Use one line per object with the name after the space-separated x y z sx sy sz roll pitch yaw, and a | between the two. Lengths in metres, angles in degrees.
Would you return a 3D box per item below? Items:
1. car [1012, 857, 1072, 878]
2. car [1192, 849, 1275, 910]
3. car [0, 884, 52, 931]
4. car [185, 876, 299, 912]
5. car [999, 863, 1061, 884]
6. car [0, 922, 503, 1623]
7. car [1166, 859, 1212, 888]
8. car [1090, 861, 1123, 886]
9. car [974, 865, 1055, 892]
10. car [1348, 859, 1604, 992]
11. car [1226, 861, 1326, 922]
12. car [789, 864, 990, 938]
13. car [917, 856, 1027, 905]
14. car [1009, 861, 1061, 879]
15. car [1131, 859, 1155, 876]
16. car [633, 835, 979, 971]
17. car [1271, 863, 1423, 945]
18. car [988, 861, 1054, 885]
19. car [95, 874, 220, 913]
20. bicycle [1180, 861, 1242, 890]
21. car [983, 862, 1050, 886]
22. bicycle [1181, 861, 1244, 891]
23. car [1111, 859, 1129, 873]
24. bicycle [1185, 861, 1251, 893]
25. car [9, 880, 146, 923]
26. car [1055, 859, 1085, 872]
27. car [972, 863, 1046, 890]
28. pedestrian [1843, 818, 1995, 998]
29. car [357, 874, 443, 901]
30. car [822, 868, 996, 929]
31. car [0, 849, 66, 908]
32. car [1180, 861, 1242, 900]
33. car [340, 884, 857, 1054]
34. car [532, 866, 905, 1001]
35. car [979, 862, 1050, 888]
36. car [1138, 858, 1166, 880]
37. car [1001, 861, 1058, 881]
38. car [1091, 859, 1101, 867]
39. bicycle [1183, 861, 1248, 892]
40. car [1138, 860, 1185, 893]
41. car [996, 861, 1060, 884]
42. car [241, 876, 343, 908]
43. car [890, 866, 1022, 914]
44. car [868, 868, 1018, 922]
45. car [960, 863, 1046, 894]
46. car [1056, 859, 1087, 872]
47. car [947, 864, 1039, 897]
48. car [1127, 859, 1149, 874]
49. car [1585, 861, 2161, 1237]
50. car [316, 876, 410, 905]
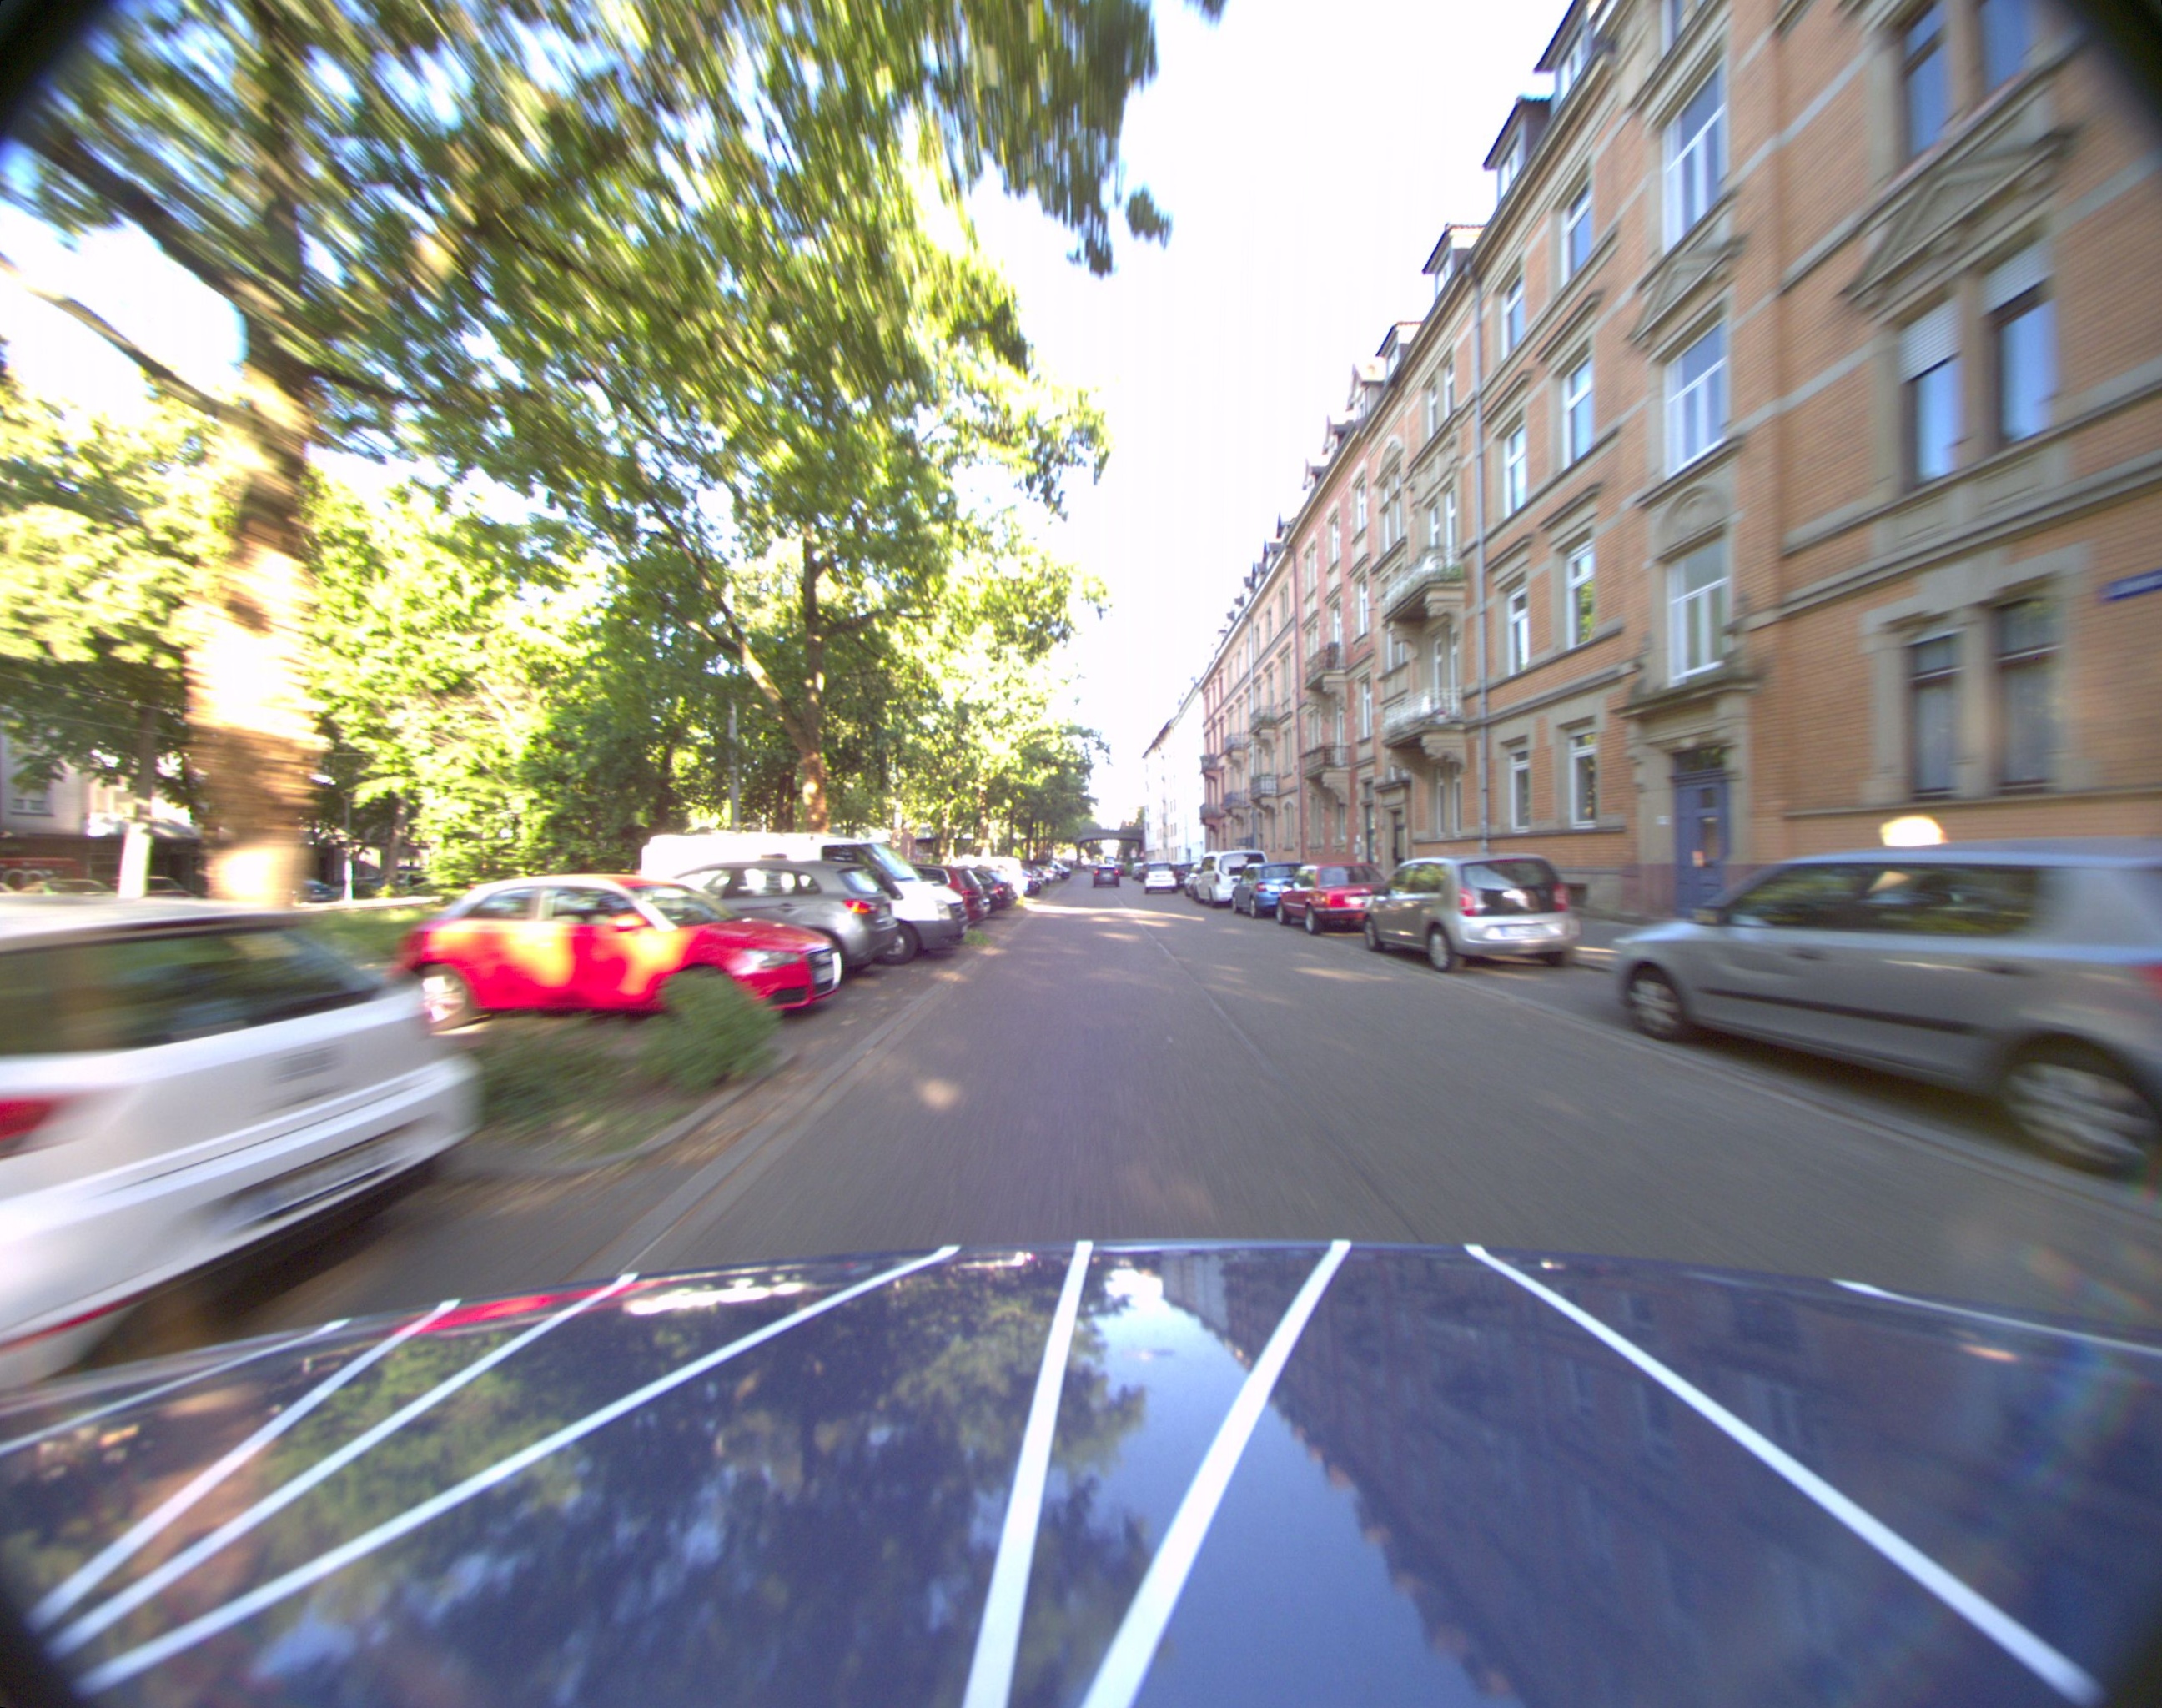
-3.414 1.177 66.700 5.095 1.831 1.832 0 0 1 | car
5.225 0.833 26.644 1.912 1.871 4.725 -3 0 1 | car
-32.463 1.564 22.278 3.990 1.271 1.751 0 0 22 | car
-33.489 1.564 30.320 3.990 1.271 1.751 0 0 22 | car
-3.605 1.365 54.376 4.263 1.480 1.684 0 0 1 | car
-4.405 1.003 2.329 3.997 1.452 1.684 0 0 1 | car
5.854 1.017 41.657 1.881 1.433 4.393 -3 0 1 | car
1.715 1.254 49.644 1.880 1.422 4.394 -3 0 5 | car
-3.409 1.261 39.378 3.997 1.331 1.684 0 0 1 | car
5.242 0.845 10.697 1.688 1.466 3.709 -3 0 1 | car
5.263 0.961 21.010 1.767 1.430 3.888 -3 0 1 | car
-4.130 1.010 16.824 3.997 1.544 1.684 0 0 1 | car
-4.142 1.007 29.341 3.997 1.821 1.684 0 0 1 | car
-3.718 1.301 61.695 4.130 1.480 1.684 0 0 1 | car
5.765 1.228 71.097 1.881 1.433 4.393 -3 0 1 | car
-4.261 0.743 12.437 4.856 2.026 2.155 0 0 1 | car
5.368 0.933 15.949 1.767 1.375 4.291 -3 0 2 | car
-3.878 1.238 49.786 4.130 1.513 1.684 0 0 1 | car
-33.608 1.398 27.648 3.990 1.271 1.751 0 0 22 | car
6.694 1.104 39.169 3.043 1.476 0.817 0 0 1 | bicycle
-3.979 1.252 47.308 3.997 1.480 1.684 0 0 1 | car
6.630 1.103 38.310 3.043 1.476 0.817 0 0 1 | bicycle
4.430 1.369 86.819 1.881 1.433 4.393 -3 0 1 | car
6.593 1.097 36.561 3.043 1.476 0.817 0 0 1 | bicycle
-33.415 1.526 25.300 3.990 1.271 1.751 0 0 22 | car
-1.604 1.682 113.675 4.389 1.676 1.882 -3 0 1 | car
-4.008 1.233 42.882 3.997 1.480 1.684 0 0 1 | car
8.468 0.527 7.709 0.675 1.708 0.722 -3 0 2 | pedestrian
-35.386 1.702 39.485 3.990 1.271 1.751 0 0 22 | car
-4.281 1.101 19.321 3.997 1.480 1.684 0 0 1 | car
-40.619 0.905 27.533 2.000 2.159 4.608 0 0 -11 | car
5.453 1.066 32.386 1.881 1.433 4.393 -3 0 1 | car
-4.458 1.029 7.453 3.997 1.415 1.684 0 0 1 | car
-4.485 0.954 9.880 3.997 1.570 1.766 0 0 -1 | car
-3.887 1.236 44.846 3.997 1.480 1.684 0 0 1 | car
5.677 1.187 61.121 1.881 1.559 4.393 -3 0 1 | car
-3.806 1.284 57.044 4.130 1.480 1.684 0 0 1 | car
3.159 1.841 158.098 1.881 1.433 4.393 -3 0 1 | car
6.597 1.101 37.425 3.043 1.476 0.817 0 0 1 | bicycle
4.044 1.103 38.690 1.881 1.527 4.393 -3 0 1 | car
-3.604 1.254 52.070 4.263 1.480 1.684 0 0 1 | car
-34.884 1.651 33.609 3.990 1.271 1.751 0 0 22 | car
-3.990 1.149 24.716 3.997 1.480 1.684 0 0 1 | car
-3.894 1.147 21.936 3.997 1.480 1.684 0 0 1 | car
-3.797 1.197 37.307 3.997 1.480 1.684 0 0 1 | car
-1.406 1.661 111.406 4.389 1.676 1.882 -3 0 1 | car
-3.968 1.194 34.793 3.997 1.480 1.684 0 0 1 | car
5.758 1.255 76.916 1.881 1.433 4.393 -3 0 1 | car
5.234 0.816 4.607 1.688 1.466 3.882 -3 0 -1 | car
-34.608 1.713 36.611 3.990 1.271 1.751 0 0 22 | car
